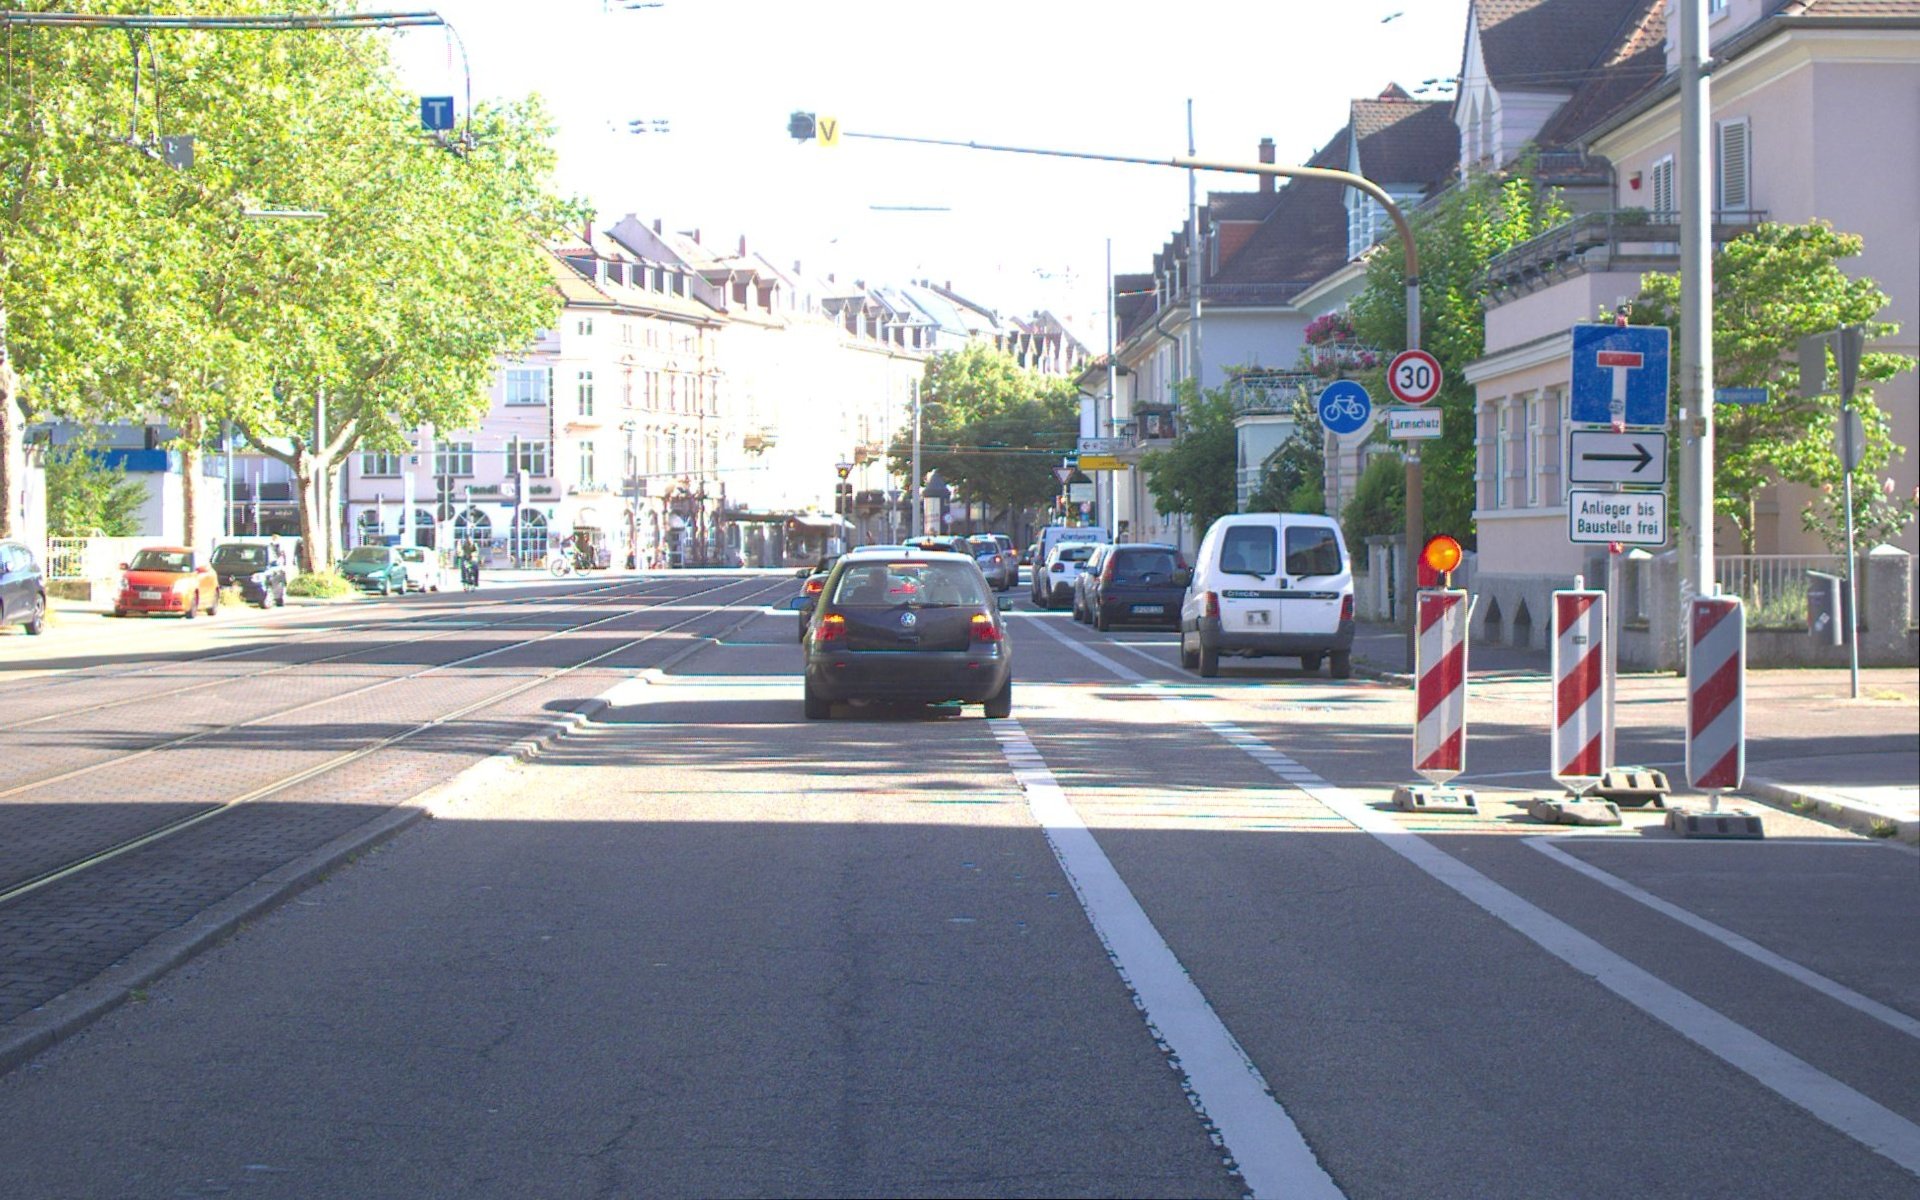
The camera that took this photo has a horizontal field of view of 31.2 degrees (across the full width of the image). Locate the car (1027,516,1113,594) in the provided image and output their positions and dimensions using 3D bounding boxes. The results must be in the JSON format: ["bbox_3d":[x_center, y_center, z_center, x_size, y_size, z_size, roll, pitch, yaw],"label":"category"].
[{"bbox_3d":[2.563,-1.078,81.058,1.817,1.793,4.000,0,1,-1],"label":"car"}]

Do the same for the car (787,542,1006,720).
[{"bbox_3d":[-0.590,0.214,29.537,1.748,1.370,4.001,0,2,-2],"label":"car"}]

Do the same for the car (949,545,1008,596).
[{"bbox_3d":[0.531,-0.890,101.609,1.636,1.467,3.730,0,1,-1],"label":"car"}]

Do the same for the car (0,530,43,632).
[{"bbox_3d":[-16.668,-0.326,57.080,1.887,1.660,4.000,0,1,-1],"label":"car"}]

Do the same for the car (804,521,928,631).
[{"bbox_3d":[-1.347,-0.390,50.562,1.748,1.532,3.892,0,2,-1],"label":"car"}]

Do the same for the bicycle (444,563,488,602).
[{"bbox_3d":[-15.152,-0.546,105.490,0.914,1.079,3.203,2,2,-1],"label":"bicycle"}]

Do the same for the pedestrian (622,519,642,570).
[{"bbox_3d":[-17.334,-2.935,181.637,0.956,2.650,1.099,2,1,-3],"label":"pedestrian"}]

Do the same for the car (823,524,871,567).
[{"bbox_3d":[-3.961,-1.924,120.974,1.636,1.467,3.730,0,1,-1],"label":"car"}]

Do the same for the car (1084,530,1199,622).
[{"bbox_3d":[3.056,-0.436,58.452,1.661,1.520,4.036,0,1,-1],"label":"car"}]

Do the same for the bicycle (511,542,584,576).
[{"bbox_3d":[-16.163,-1.604,134.651,2.742,1.258,0.706,2,1,-1],"label":"bicycle"}]

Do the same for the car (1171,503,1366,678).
[{"bbox_3d":[3.421,-0.152,38.694,1.759,1.831,3.548,2,1,-1],"label":"car"}]

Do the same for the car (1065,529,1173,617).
[{"bbox_3d":[2.874,-0.518,62.933,1.748,1.532,3.956,0,2,-1],"label":"car"}]

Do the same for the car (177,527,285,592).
[{"bbox_3d":[-17.497,-0.991,82.687,1.792,1.460,3.836,3,1,-1],"label":"car"}]

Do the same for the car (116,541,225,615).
[{"bbox_3d":[-16.863,-0.472,73.536,1.570,1.528,3.572,0,0,-1],"label":"car"}]

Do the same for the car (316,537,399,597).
[{"bbox_3d":[-17.885,-1.010,102.236,1.883,1.663,3.805,2,2,-2],"label":"car"}]

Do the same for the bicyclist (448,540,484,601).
[{"bbox_3d":[-15.150,-0.917,105.467,0.914,1.827,0.960,2,1,-1],"label":"bicyclist"}]

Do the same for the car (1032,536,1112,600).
[{"bbox_3d":[2.454,-0.719,76.042,1.580,1.370,4.000,0,1,-1],"label":"car"}]

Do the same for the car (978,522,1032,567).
[{"bbox_3d":[1.471,-1.831,112.676,1.636,1.467,3.730,0,1,-1],"label":"car"}]

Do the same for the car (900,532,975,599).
[{"bbox_3d":[-0.533,-0.793,77.702,1.636,1.467,3.730,0,1,-1],"label":"car"}]
